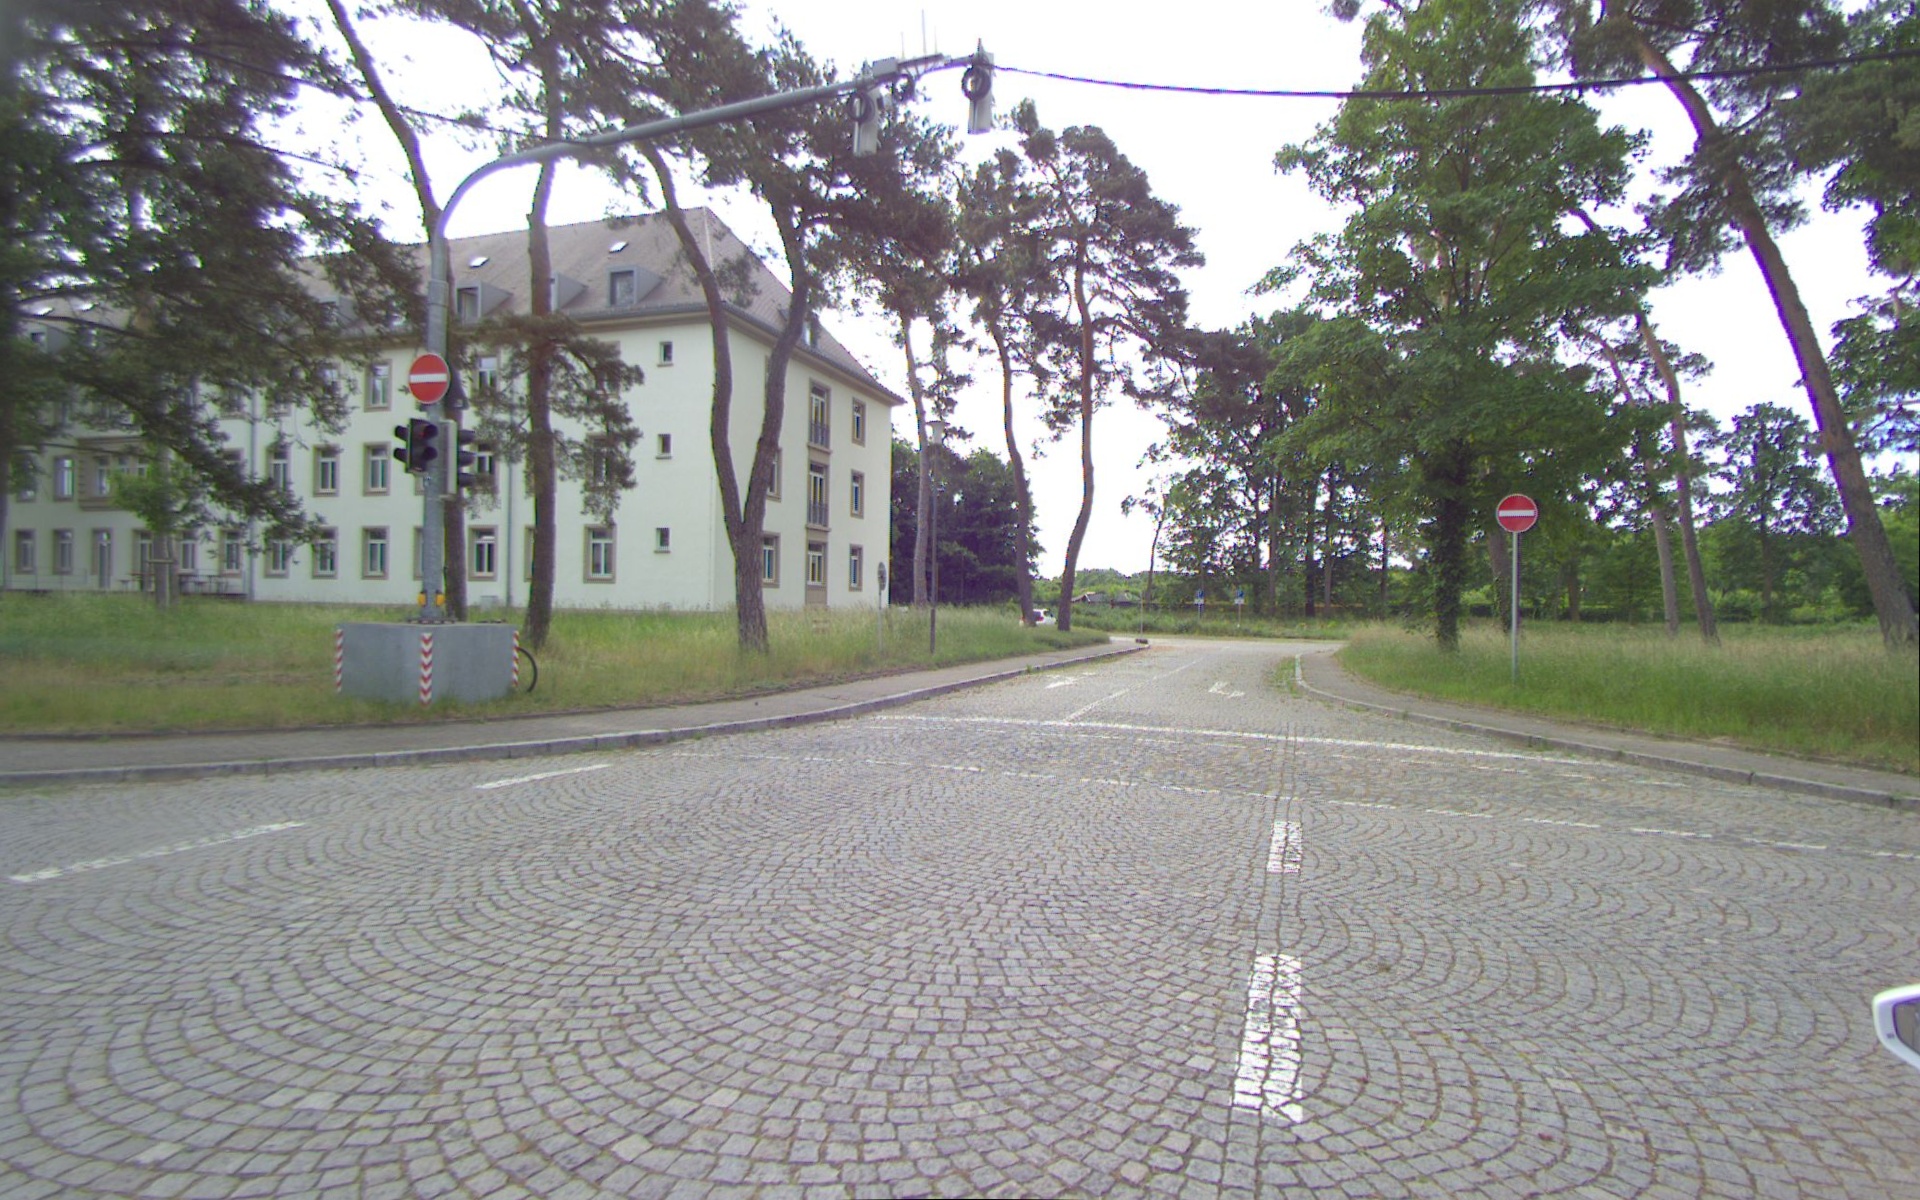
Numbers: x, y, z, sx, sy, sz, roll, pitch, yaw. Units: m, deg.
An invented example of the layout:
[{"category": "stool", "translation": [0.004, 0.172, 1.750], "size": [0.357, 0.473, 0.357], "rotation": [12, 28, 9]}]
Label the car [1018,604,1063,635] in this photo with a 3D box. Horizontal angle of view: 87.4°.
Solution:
[{"category": "car", "translation": [5.072, 1.200, 62.640], "size": [1.688, 1.831, 3.999], "rotation": [1, 0, 22]}]

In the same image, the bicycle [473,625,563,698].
[{"category": "bicycle", "translation": [-5.815, 0.803, 13.221], "size": [1.033, 0.928, 0.293], "rotation": [1, 0, -3]}]
